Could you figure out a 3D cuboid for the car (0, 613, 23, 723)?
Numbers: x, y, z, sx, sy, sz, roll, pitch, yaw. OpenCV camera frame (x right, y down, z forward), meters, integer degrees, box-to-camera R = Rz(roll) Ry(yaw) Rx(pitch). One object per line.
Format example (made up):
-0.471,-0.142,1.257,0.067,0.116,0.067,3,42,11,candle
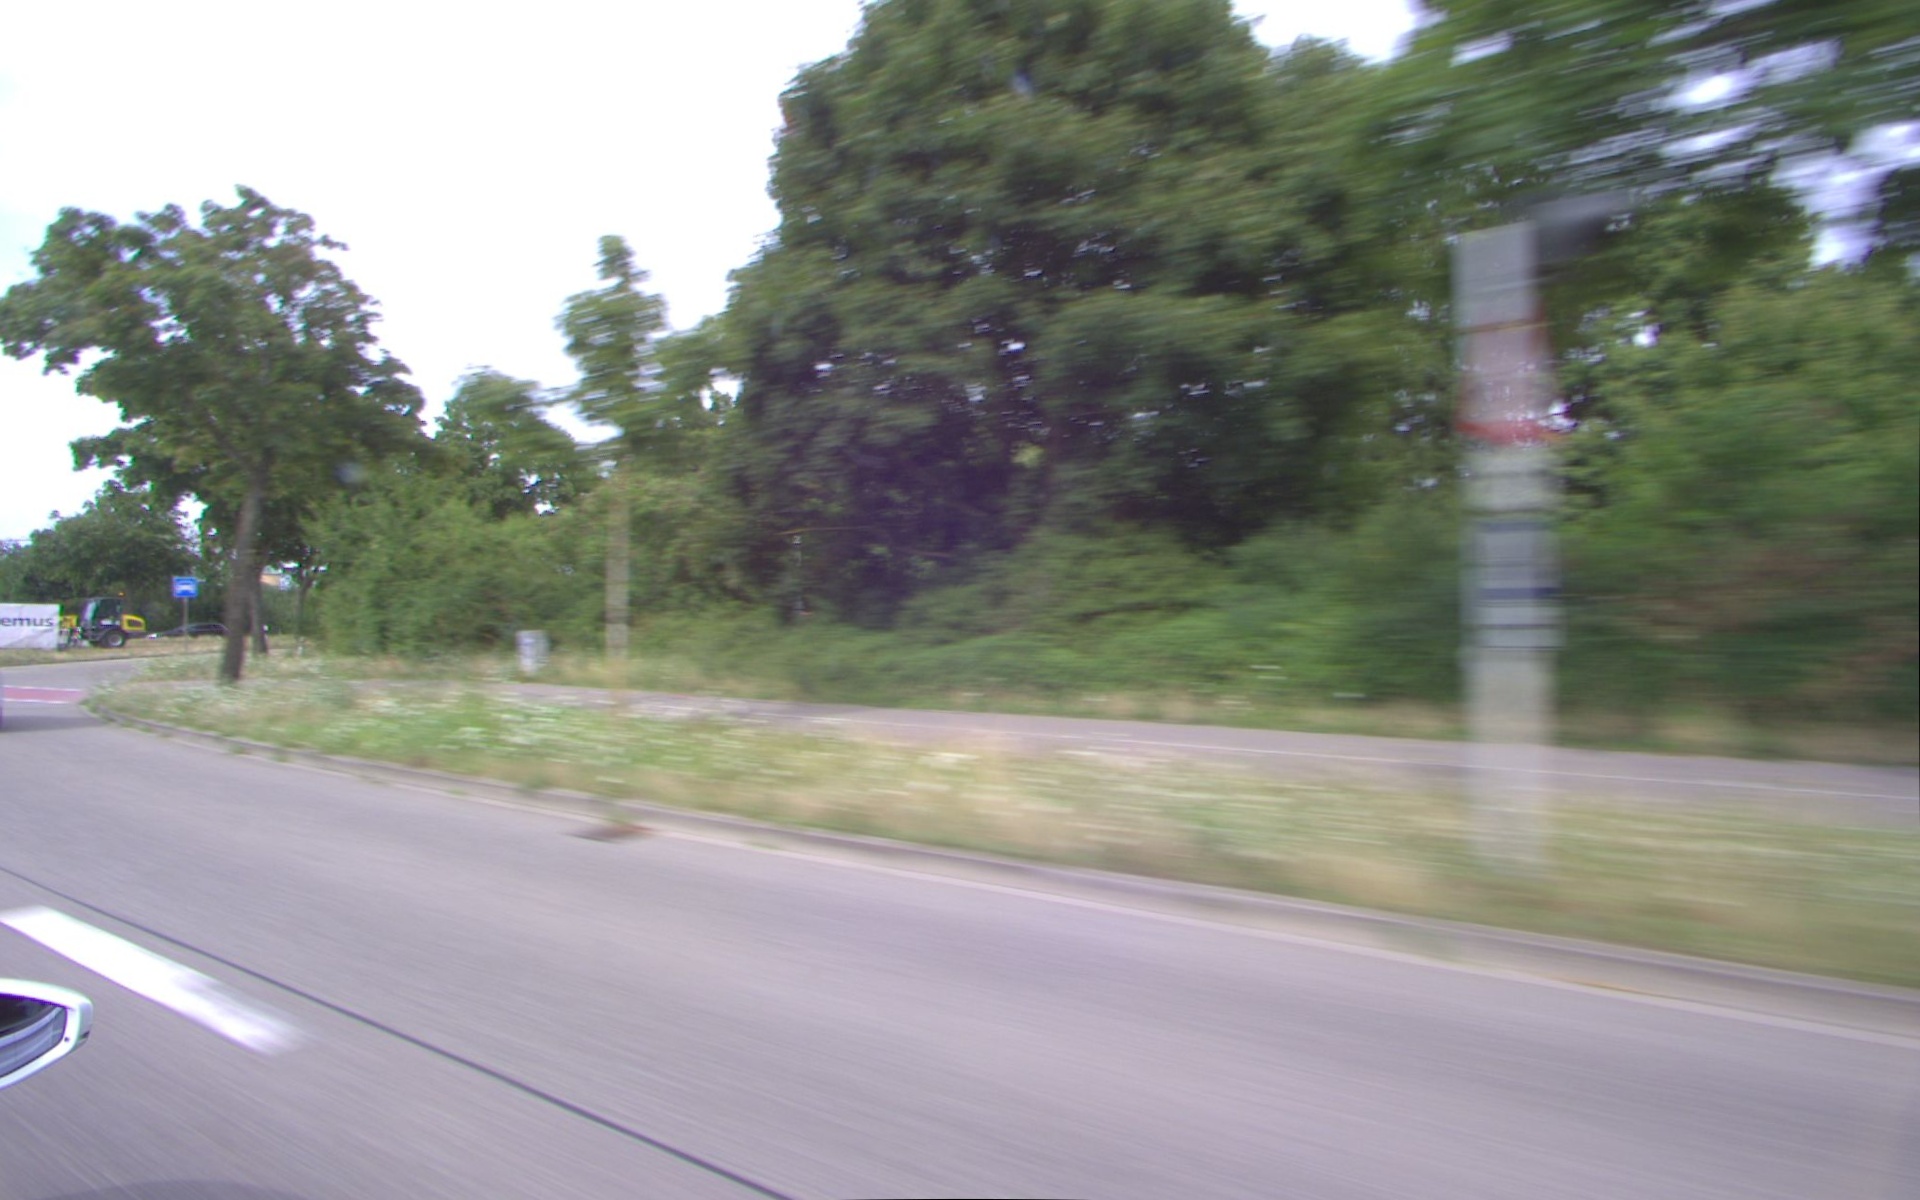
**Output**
-15.288,0.941,14.560,3.951,1.521,1.841,-1,-3,38,car

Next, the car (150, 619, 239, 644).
-47.489,1.906,62.187,1.708,1.413,4.102,0,0,25,car

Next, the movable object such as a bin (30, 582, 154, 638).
-44.177,0.591,51.067,2.076,2.723,4.485,-1,-2,38,movable object such as a bin
